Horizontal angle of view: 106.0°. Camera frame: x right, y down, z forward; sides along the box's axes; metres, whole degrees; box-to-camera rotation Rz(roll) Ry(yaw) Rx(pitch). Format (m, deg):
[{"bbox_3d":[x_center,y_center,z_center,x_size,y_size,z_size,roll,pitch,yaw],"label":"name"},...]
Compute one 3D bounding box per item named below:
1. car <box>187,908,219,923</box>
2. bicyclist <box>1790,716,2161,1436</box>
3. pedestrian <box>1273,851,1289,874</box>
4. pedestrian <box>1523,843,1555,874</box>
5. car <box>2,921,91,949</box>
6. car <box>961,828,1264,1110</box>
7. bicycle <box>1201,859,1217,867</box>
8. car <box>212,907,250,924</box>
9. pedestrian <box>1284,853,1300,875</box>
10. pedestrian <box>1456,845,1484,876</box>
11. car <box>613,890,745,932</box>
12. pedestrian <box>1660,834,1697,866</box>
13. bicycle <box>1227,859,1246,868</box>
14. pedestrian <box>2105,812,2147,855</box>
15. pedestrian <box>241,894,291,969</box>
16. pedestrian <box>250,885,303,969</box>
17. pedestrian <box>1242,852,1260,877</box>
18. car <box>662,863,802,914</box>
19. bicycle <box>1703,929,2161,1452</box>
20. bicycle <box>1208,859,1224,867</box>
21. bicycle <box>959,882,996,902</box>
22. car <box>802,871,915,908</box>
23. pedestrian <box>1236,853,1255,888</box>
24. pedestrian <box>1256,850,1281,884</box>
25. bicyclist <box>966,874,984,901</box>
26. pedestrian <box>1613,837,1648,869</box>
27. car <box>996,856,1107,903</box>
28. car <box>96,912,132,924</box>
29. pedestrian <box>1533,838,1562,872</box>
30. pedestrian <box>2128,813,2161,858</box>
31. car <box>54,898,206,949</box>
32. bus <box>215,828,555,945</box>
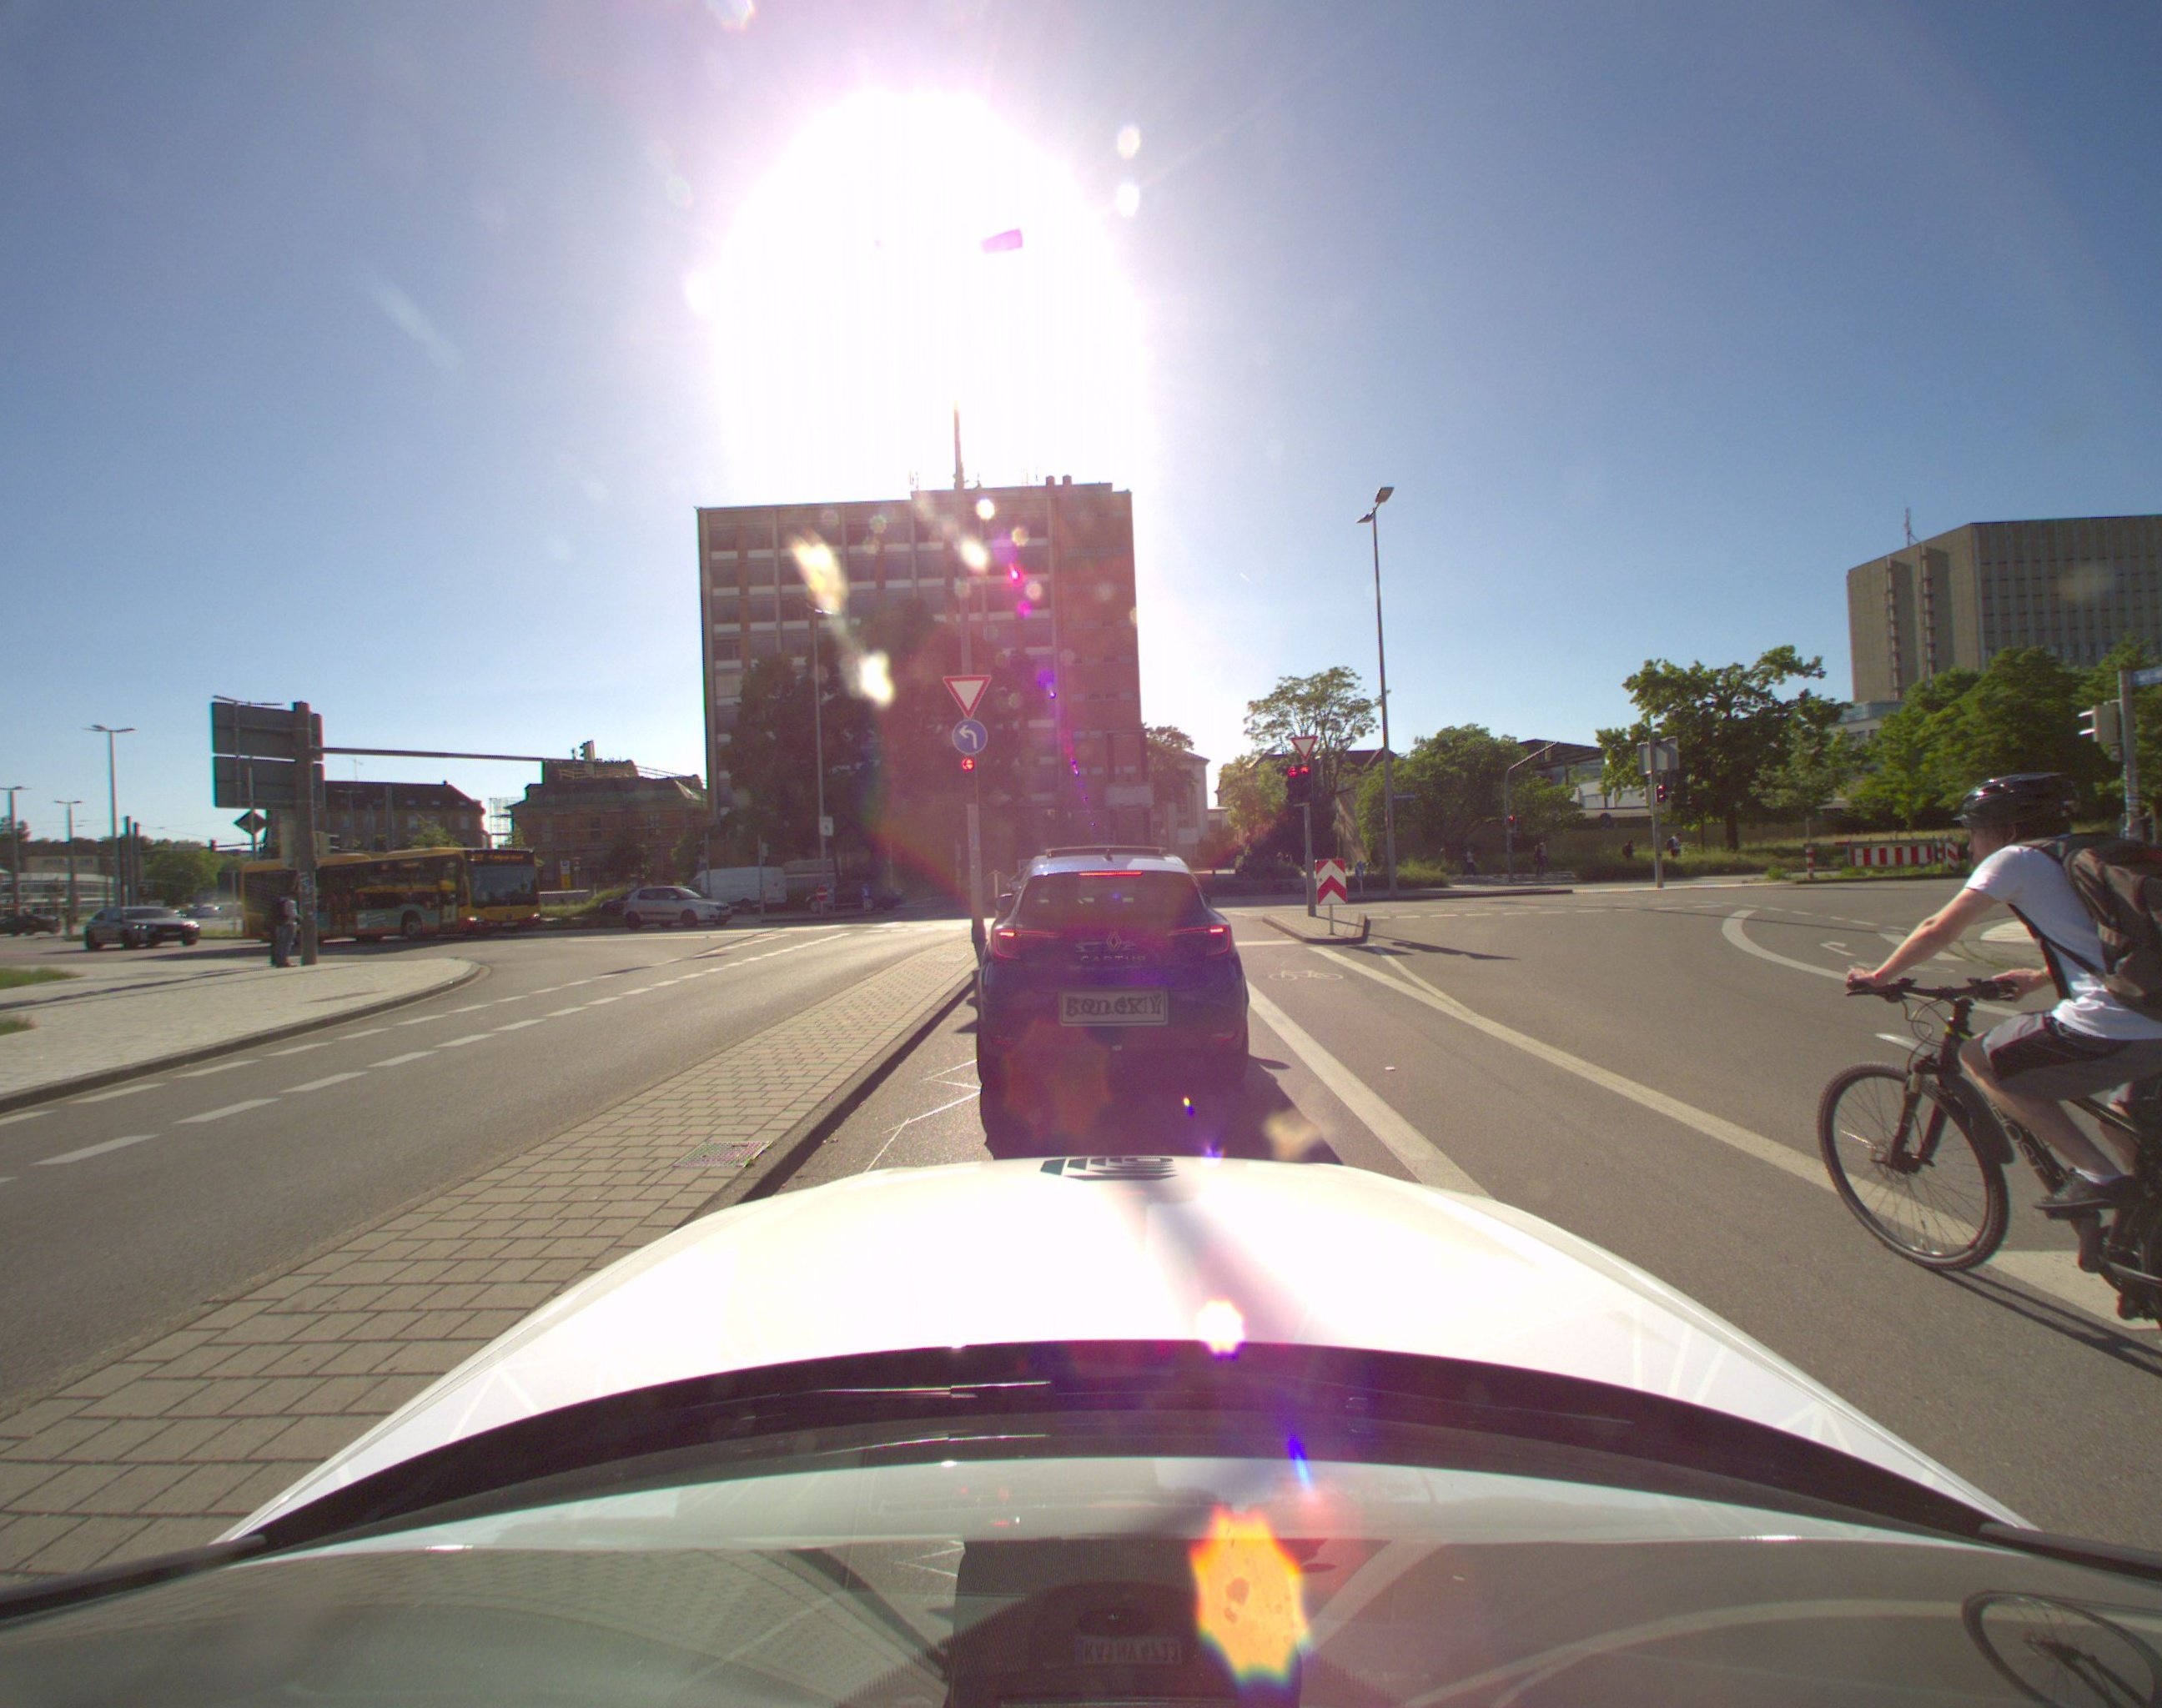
[{"bbox_3d":[-106.382,7.426,98.667,3.948,1.582,2.013,-1,-1,33],"label":"car"},{"bbox_3d":[2.940,0.549,2.503,0.674,1.785,0.939,-1,-1,0],"label":"bicyclist"},{"bbox_3d":[15.565,0.622,63.424,0.949,1.741,0.984,-2,-1,2],"label":"pedestrian"},{"bbox_3d":[23.003,0.213,40.896,1.069,1.521,0.880,-2,-1,6],"label":"pedestrian"},{"bbox_3d":[-78.045,6.108,61.471,3.982,1.772,1.779,-2,0,-7],"label":"car"},{"bbox_3d":[0.218,0.684,6.793,1.788,1.655,3.853,-1,0,1],"label":"car"},{"bbox_3d":[15.548,1.099,99.040,1.764,0.893,0.766,-2,-1,2],"label":"bicycle"},{"bbox_3d":[-87.480,6.321,83.820,3.948,1.582,2.013,-1,-1,33],"label":"car"},{"bbox_3d":[16.272,0.767,62.756,0.932,1.613,1.176,-2,-1,2],"label":"pedestrian"},{"bbox_3d":[20.154,0.346,42.188,1.078,1.521,0.933,-2,-1,11],"label":"pedestrian"},{"bbox_3d":[-14.231,2.011,28.938,3.818,1.403,1.898,-1,-3,13],"label":"car"},{"bbox_3d":[30.098,-0.189,41.040,1.123,1.521,0.992,-2,-1,5],"label":"pedestrian"},{"bbox_3d":[15.802,0.937,82.858,1.770,0.823,0.763,-2,-1,-9],"label":"bicycle"},{"bbox_3d":[51.081,-0.996,39.831,0.891,2.079,0.814,-2,-1,5],"label":"pedestrian"},{"bbox_3d":[-19.159,1.814,19.155,0.627,1.697,0.608,-3,-1,25],"label":"pedestrian"},{"bbox_3d":[-18.291,1.644,18.518,0.673,1.855,0.608,-3,-1,25],"label":"pedestrian"},{"bbox_3d":[14.054,0.844,67.324,1.152,2.013,1.165,-2,-1,2],"label":"pedestrian"},{"bbox_3d":[-19.598,1.929,45.833,6.878,2.547,3.027,-3,0,18],"label":"car"},{"bbox_3d":[2.940,0.889,2.523,0.613,1.138,1.826,-2,0,0],"label":"bicycle"},{"bbox_3d":[15.693,1.045,94.670,1.764,0.898,0.766,-2,-1,2],"label":"bicycle"},{"bbox_3d":[-5.652,2.073,44.348,1.877,1.007,0.692,-1,-4,-38],"label":"bicycle"},{"bbox_3d":[-10.746,1.707,39.387,4.805,1.582,2.111,-3,0,16],"label":"car"},{"bbox_3d":[9.063,0.890,44.860,0.926,1.855,0.809,-3,-1,11],"label":"pedestrian"},{"bbox_3d":[10.432,0.716,45.267,1.288,1.855,0.969,-3,-1,13],"label":"pedestrian"},{"bbox_3d":[-5.761,1.802,44.287,0.642,1.412,0.641,-1,-4,-38],"label":"bicyclist"},{"bbox_3d":[27.568,-0.048,40.879,1.140,1.521,0.944,-2,-1,7],"label":"pedestrian"},{"bbox_3d":[-1.404,1.222,39.730,4.964,2.013,2.080,-3,0,13],"label":"car"},{"bbox_3d":[-138.193,9.122,116.416,2.005,1.389,3.963,-3,-1,-28],"label":"car"},{"bbox_3d":[24.082,0.050,42.043,0.958,1.732,0.928,-2,-1,7],"label":"pedestrian"},{"bbox_3d":[50.467,-0.893,38.236,1.181,2.079,0.983,-2,-1,5],"label":"pedestrian"},{"bbox_3d":[-40.120,2.914,34.386,4.697,1.861,2.011,-3,-1,10],"label":"car"},{"bbox_3d":[-24.801,1.221,28.915,12.320,3.570,3.266,-3,-1,19],"label":"bus"}]
